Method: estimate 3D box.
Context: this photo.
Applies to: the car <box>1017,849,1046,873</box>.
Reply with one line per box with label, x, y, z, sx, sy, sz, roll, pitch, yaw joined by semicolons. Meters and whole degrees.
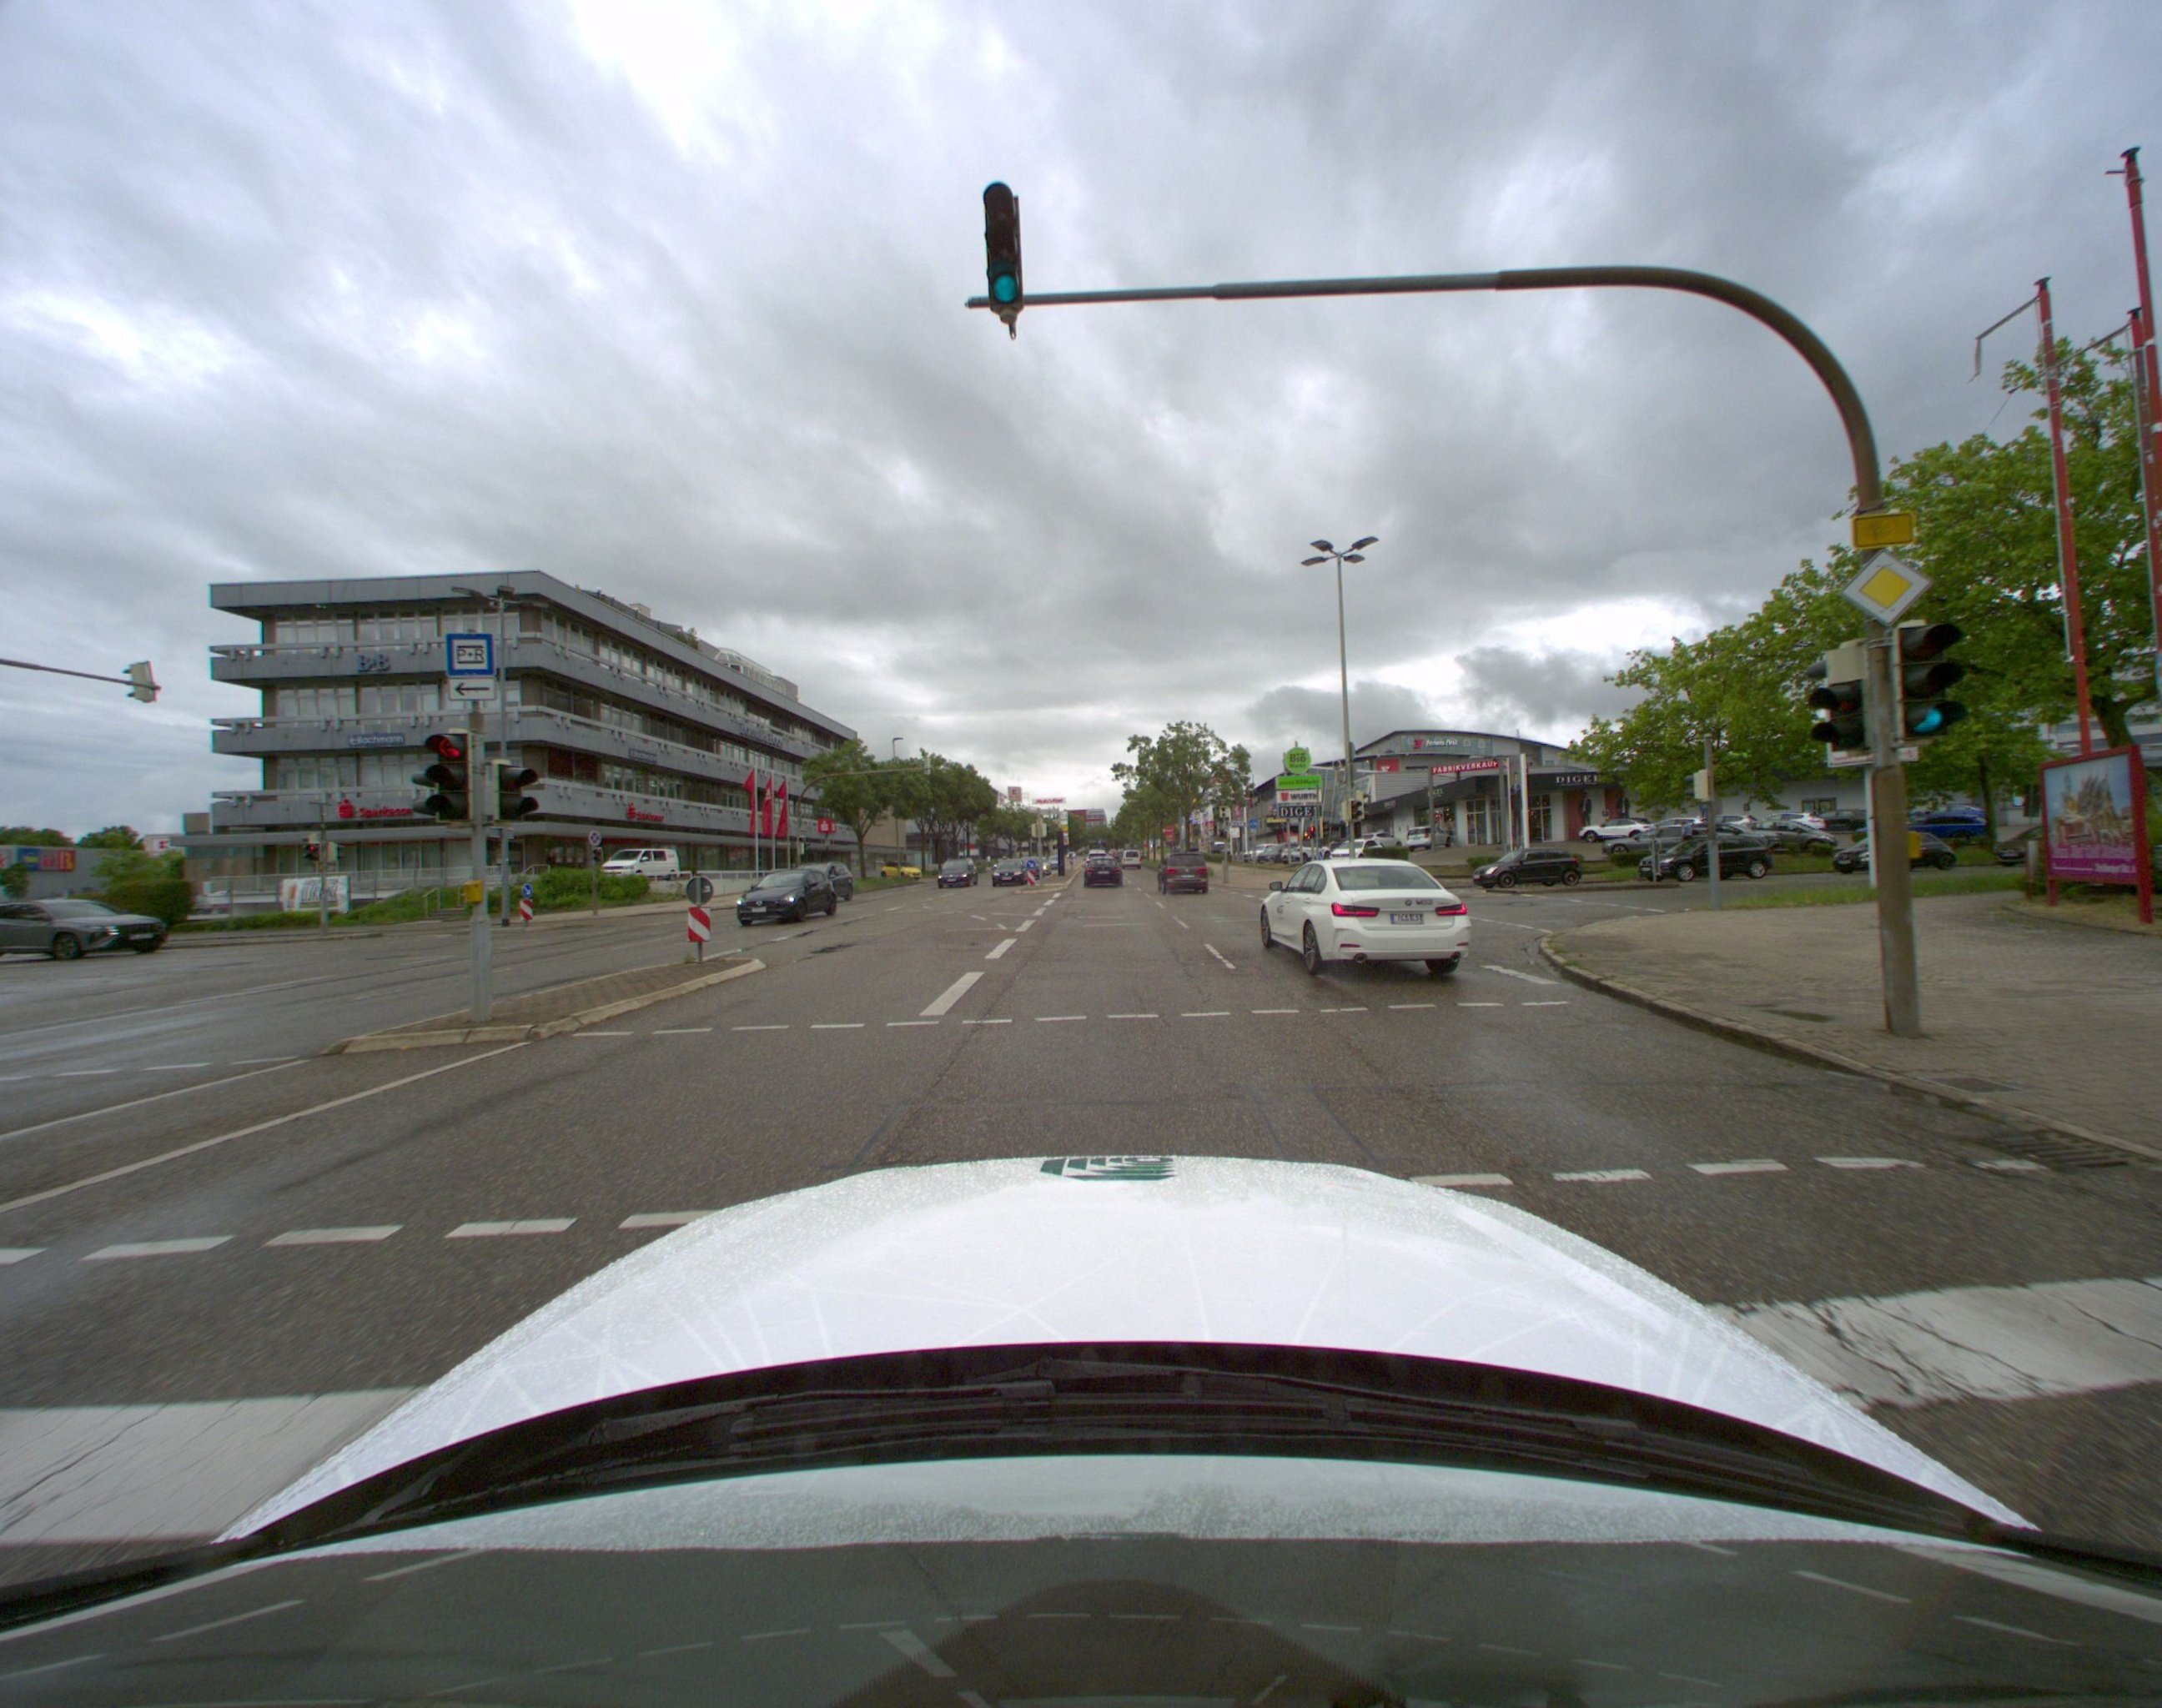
car;-3.326;0.468;55.100;1.740;1.489;4.826;-2;0;-1

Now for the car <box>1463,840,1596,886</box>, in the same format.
car;16.892;0.343;30.808;3.964;1.489;1.818;-3;-1;2

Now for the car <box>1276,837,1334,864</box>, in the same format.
car;16.226;-0.286;58.996;4.047;1.662;1.960;-5;1;-38

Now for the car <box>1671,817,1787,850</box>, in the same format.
car;31.918;-0.975;40.181;1.992;1.380;4.106;1;-2;-38

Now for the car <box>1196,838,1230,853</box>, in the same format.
car;16.387;-1.001;101.403;4.088;1.703;1.803;-2;0;7

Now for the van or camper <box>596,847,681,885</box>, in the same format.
van or camper;-24.412;0.668;45.175;1.986;1.967;4.790;-1;-1;2

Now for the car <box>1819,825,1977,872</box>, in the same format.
car;30.622;-0.174;30.616;3.964;1.489;1.818;-3;-1;2

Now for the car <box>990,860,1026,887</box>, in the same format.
car;-3.983;1.041;45.221;1.677;1.377;3.997;-2;0;-2

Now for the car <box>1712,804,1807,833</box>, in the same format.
car;40.886;-2.125;49.130;1.747;1.481;4.106;-2;0;-39

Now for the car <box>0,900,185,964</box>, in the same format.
car;-28.131;2.178;22.734;4.133;1.489;1.879;-2;0;1

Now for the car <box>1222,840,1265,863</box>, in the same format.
car;16.580;-0.264;83.194;4.093;2.106;1.801;-2;0;3

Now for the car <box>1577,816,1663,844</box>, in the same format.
car;33.560;-1.468;50.759;1.747;1.481;4.106;-2;0;-39

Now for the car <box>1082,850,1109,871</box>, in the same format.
car;1.011;0.446;57.360;1.677;1.377;3.997;-2;0;-2

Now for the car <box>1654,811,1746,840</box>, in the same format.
car;37.673;-1.734;49.641;1.745;1.481;4.109;-3;0;-35

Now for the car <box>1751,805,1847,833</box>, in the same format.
car;43.999;-2.117;49.979;1.747;1.481;4.106;-2;0;-39

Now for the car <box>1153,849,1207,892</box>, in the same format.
car;3.877;0.621;32.523;1.794;1.587;4.453;0;0;3

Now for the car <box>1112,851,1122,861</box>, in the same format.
car;6.033;0.303;135.874;1.688;1.443;3.993;-2;3;2

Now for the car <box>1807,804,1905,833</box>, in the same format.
car;47.005;-2.148;49.464;1.747;1.481;4.106;-2;0;-39

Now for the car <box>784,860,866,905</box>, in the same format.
car;-11.166;1.196;35.945;1.904;1.727;4.885;-2;0;1

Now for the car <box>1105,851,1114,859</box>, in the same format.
car;5.165;0.233;149.864;1.614;1.495;3.360;0;-1;1

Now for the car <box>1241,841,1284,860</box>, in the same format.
car;16.157;-0.330;72.456;3.616;1.536;1.776;-3;0;-38

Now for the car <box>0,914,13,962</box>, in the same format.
car;-34.115;2.596;23.677;3.673;1.399;1.880;-2;0;2

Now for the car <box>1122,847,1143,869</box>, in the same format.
car;4.858;0.381;77.426;1.775;1.866;4.001;-3;0;1

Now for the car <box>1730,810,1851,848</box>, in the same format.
car;35.052;-1.195;40.323;2.009;1.579;4.179;1;-2;-38

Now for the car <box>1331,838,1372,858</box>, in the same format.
car;24.729;-0.567;74.368;3.995;1.720;1.615;-2;0;-38

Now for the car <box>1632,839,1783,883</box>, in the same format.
car;23.071;0.276;30.119;4.118;1.548;1.741;-1;-1;7

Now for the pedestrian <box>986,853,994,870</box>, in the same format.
pedestrian;-12.435;1.011;111.157;0.856;2.218;0.846;-2;0;-2

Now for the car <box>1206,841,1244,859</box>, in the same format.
car;16.658;-0.480;94.260;4.093;1.904;1.801;-3;0;3

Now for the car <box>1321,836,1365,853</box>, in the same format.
car;25.084;-0.924;77.947;4.174;1.468;1.811;-3;0;-36

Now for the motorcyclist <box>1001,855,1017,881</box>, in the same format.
motorcyclist;-4.422;0.837;49.845;0.804;1.559;1.267;-2;0;0

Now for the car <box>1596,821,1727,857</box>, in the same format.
car;28.521;-0.718;40.142;2.011;1.486;4.948;-2;0;-43

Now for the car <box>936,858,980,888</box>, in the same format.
car;-7.114;1.070;47.506;1.905;1.608;4.360;-2;0;-2

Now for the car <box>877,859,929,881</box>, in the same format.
car;-14.563;1.301;66.549;3.948;1.552;1.912;-3;0;36

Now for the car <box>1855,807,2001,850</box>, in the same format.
car;41.563;-1.199;40.084;2.011;1.793;4.869;2;-3;-42

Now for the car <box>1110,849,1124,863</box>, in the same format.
car;4.696;0.293;105.934;1.678;1.684;3.405;-1;-1;3

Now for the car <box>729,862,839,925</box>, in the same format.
car;-8.407;1.059;23.417;1.706;1.580;3.997;-2;0;-2

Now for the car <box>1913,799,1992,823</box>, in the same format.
car;54.055;-2.630;50.553;1.548;1.270;3.208;-2;0;-39

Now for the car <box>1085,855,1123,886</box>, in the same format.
car;1.126;0.768;40.154;1.775;1.398;4.001;-1;0;1

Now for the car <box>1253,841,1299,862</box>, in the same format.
car;15.544;-0.231;64.763;3.616;1.536;1.625;-2;0;-38

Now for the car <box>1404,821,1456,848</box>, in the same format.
car;24.901;-1.399;58.012;4.177;1.771;1.717;-2;0;-41

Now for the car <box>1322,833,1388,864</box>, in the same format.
car;15.770;-0.338;46.824;1.908;1.576;4.314;-3;0;43

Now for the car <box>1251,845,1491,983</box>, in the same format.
car;3.744;0.692;11.491;1.795;1.544;4.620;0;0;1

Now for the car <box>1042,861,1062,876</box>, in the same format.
car;-3.055;1.493;85.613;1.717;1.398;4.790;-5;0;1

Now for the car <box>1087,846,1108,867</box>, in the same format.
car;1.705;0.310;82.404;1.986;2.014;4.001;-1;-1;2

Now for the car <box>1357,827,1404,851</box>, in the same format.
car;24.910;-1.255;67.689;4.174;1.771;1.718;-2;0;-38

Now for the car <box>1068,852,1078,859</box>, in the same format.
car;-1.746;0.398;176.240;1.936;1.448;4.001;-2;0;1
